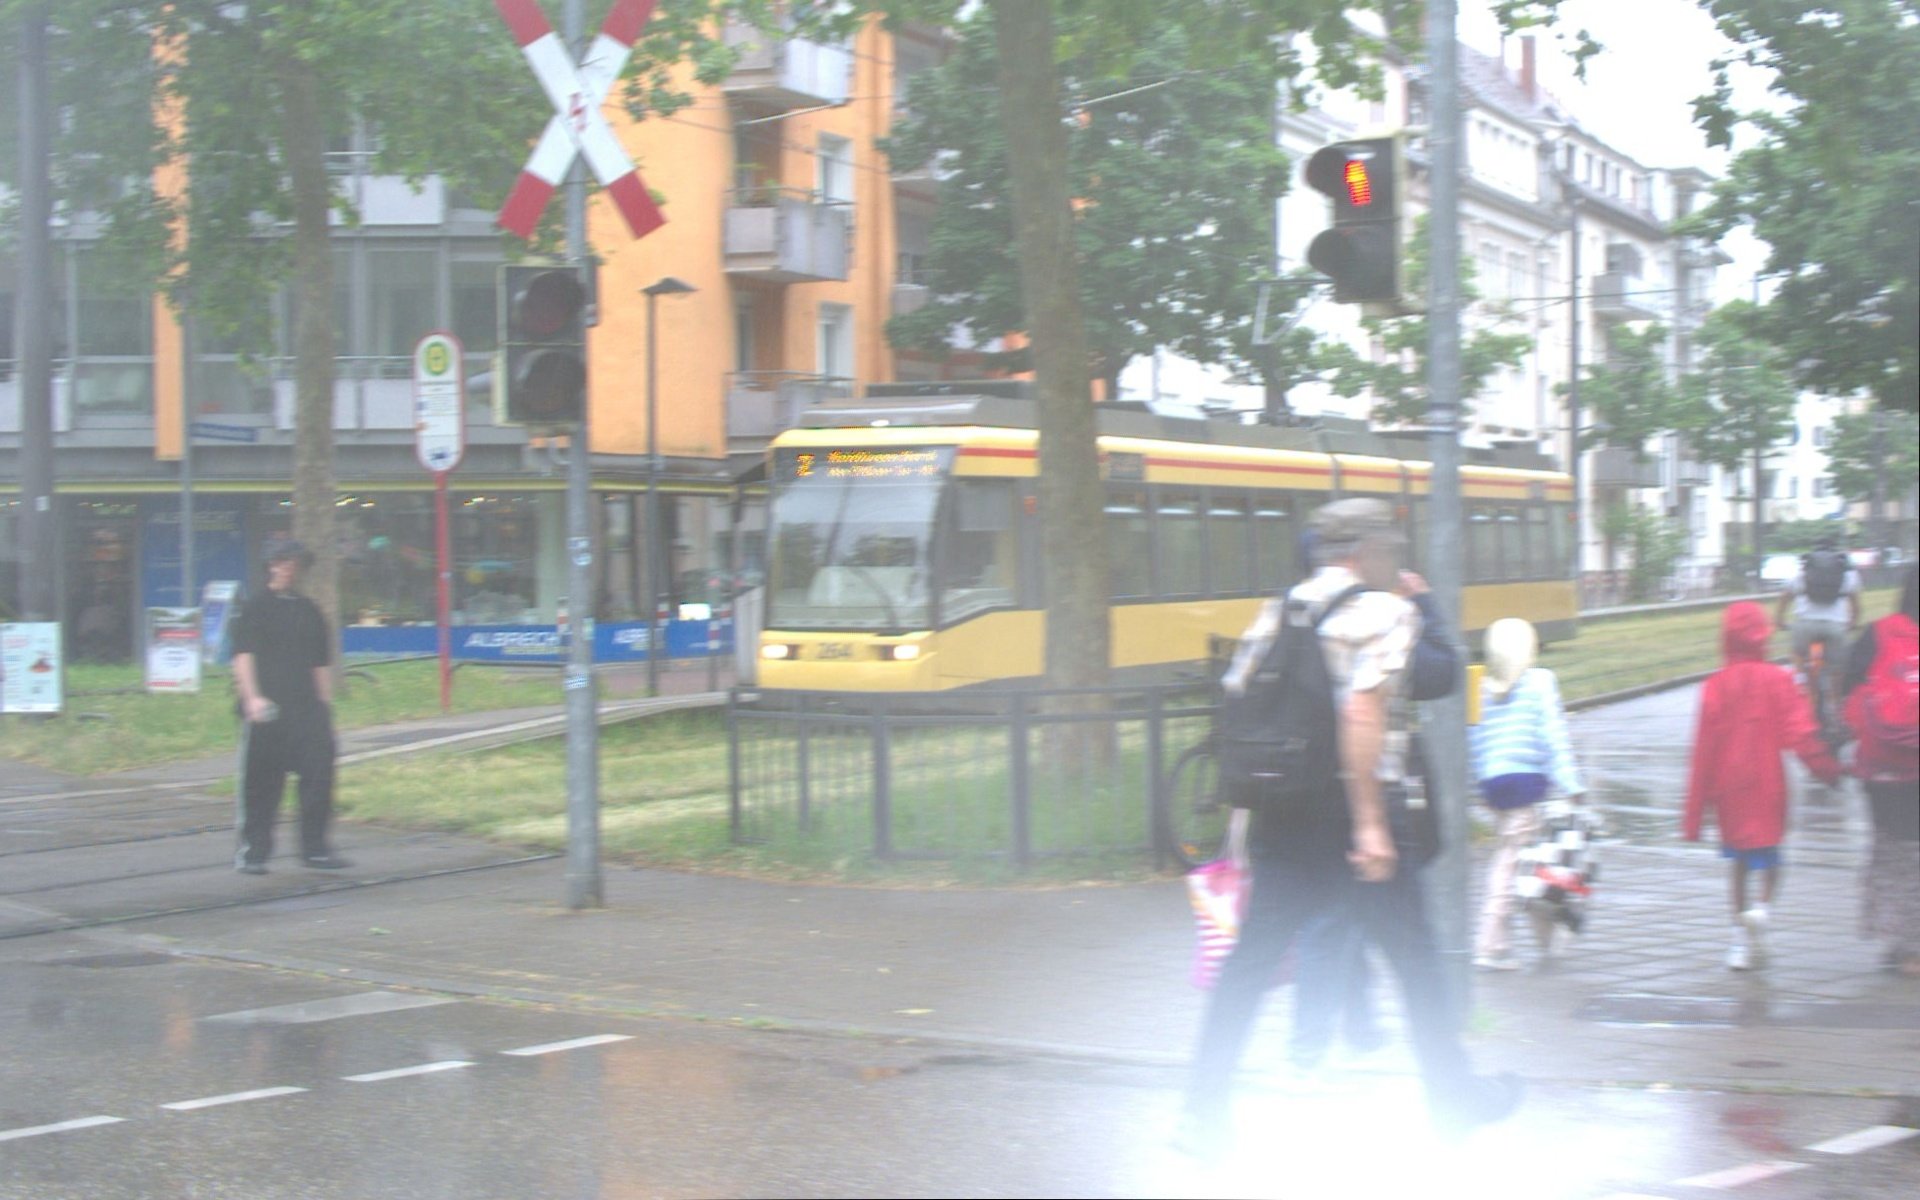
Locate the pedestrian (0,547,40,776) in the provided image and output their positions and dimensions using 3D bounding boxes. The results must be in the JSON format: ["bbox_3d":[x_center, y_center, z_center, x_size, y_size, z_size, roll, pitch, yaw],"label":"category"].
[{"bbox_3d":[-8.374,0.492,28.523,1.170,1.858,1.385,0,1,-27],"label":"pedestrian"}]

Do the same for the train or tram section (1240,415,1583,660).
[{"bbox_3d":[7.039,-0.934,52.014,2.640,3.340,9.975,1,1,22],"label":"train or tram section"}]

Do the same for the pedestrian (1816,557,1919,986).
[{"bbox_3d":[3.569,0.617,12.801,0.690,1.542,0.761,-1,1,11],"label":"pedestrian"}]

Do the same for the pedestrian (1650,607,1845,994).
[{"bbox_3d":[2.972,0.734,13.041,0.671,1.377,1.010,-1,1,11],"label":"pedestrian"}]

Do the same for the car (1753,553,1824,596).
[{"bbox_3d":[27.868,-0.865,115.558,1.995,1.393,3.997,0,1,18],"label":"car"}]

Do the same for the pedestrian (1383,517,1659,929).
[{"bbox_3d":[2.186,0.442,13.311,0.876,1.520,1.064,0,1,19],"label":"pedestrian"}]

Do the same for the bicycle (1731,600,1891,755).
[{"bbox_3d":[6.971,0.614,28.251,0.750,1.169,2.041,-1,1,-1],"label":"bicycle"}]

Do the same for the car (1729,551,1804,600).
[{"bbox_3d":[25.856,-0.808,110.129,1.995,1.527,3.997,0,1,18],"label":"car"}]

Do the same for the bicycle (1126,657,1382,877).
[{"bbox_3d":[1.575,0.862,18.241,0.446,1.073,1.615,1,1,44],"label":"bicycle"}]

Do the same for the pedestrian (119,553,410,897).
[{"bbox_3d":[-3.779,0.638,18.665,1.236,1.782,1.035,1,1,45],"label":"pedestrian"}]

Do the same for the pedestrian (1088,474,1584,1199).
[{"bbox_3d":[0.984,0.569,8.984,0.991,1.775,0.811,-2,2,-41],"label":"pedestrian"}]

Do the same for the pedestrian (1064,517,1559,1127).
[{"bbox_3d":[1.044,0.604,10.252,1.053,1.680,0.996,-2,2,-38],"label":"pedestrian"}]

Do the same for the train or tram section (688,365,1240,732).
[{"bbox_3d":[0.307,-0.537,35.804,2.641,3.358,8.366,1,1,23],"label":"train or tram section"}]

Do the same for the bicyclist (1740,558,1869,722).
[{"bbox_3d":[6.945,0.316,28.318,0.740,1.305,1.077,-1,1,-3],"label":"bicyclist"}]

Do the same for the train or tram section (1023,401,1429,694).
[{"bbox_3d":[3.561,-0.663,43.506,2.640,3.340,8.366,1,1,22],"label":"train or tram section"}]
